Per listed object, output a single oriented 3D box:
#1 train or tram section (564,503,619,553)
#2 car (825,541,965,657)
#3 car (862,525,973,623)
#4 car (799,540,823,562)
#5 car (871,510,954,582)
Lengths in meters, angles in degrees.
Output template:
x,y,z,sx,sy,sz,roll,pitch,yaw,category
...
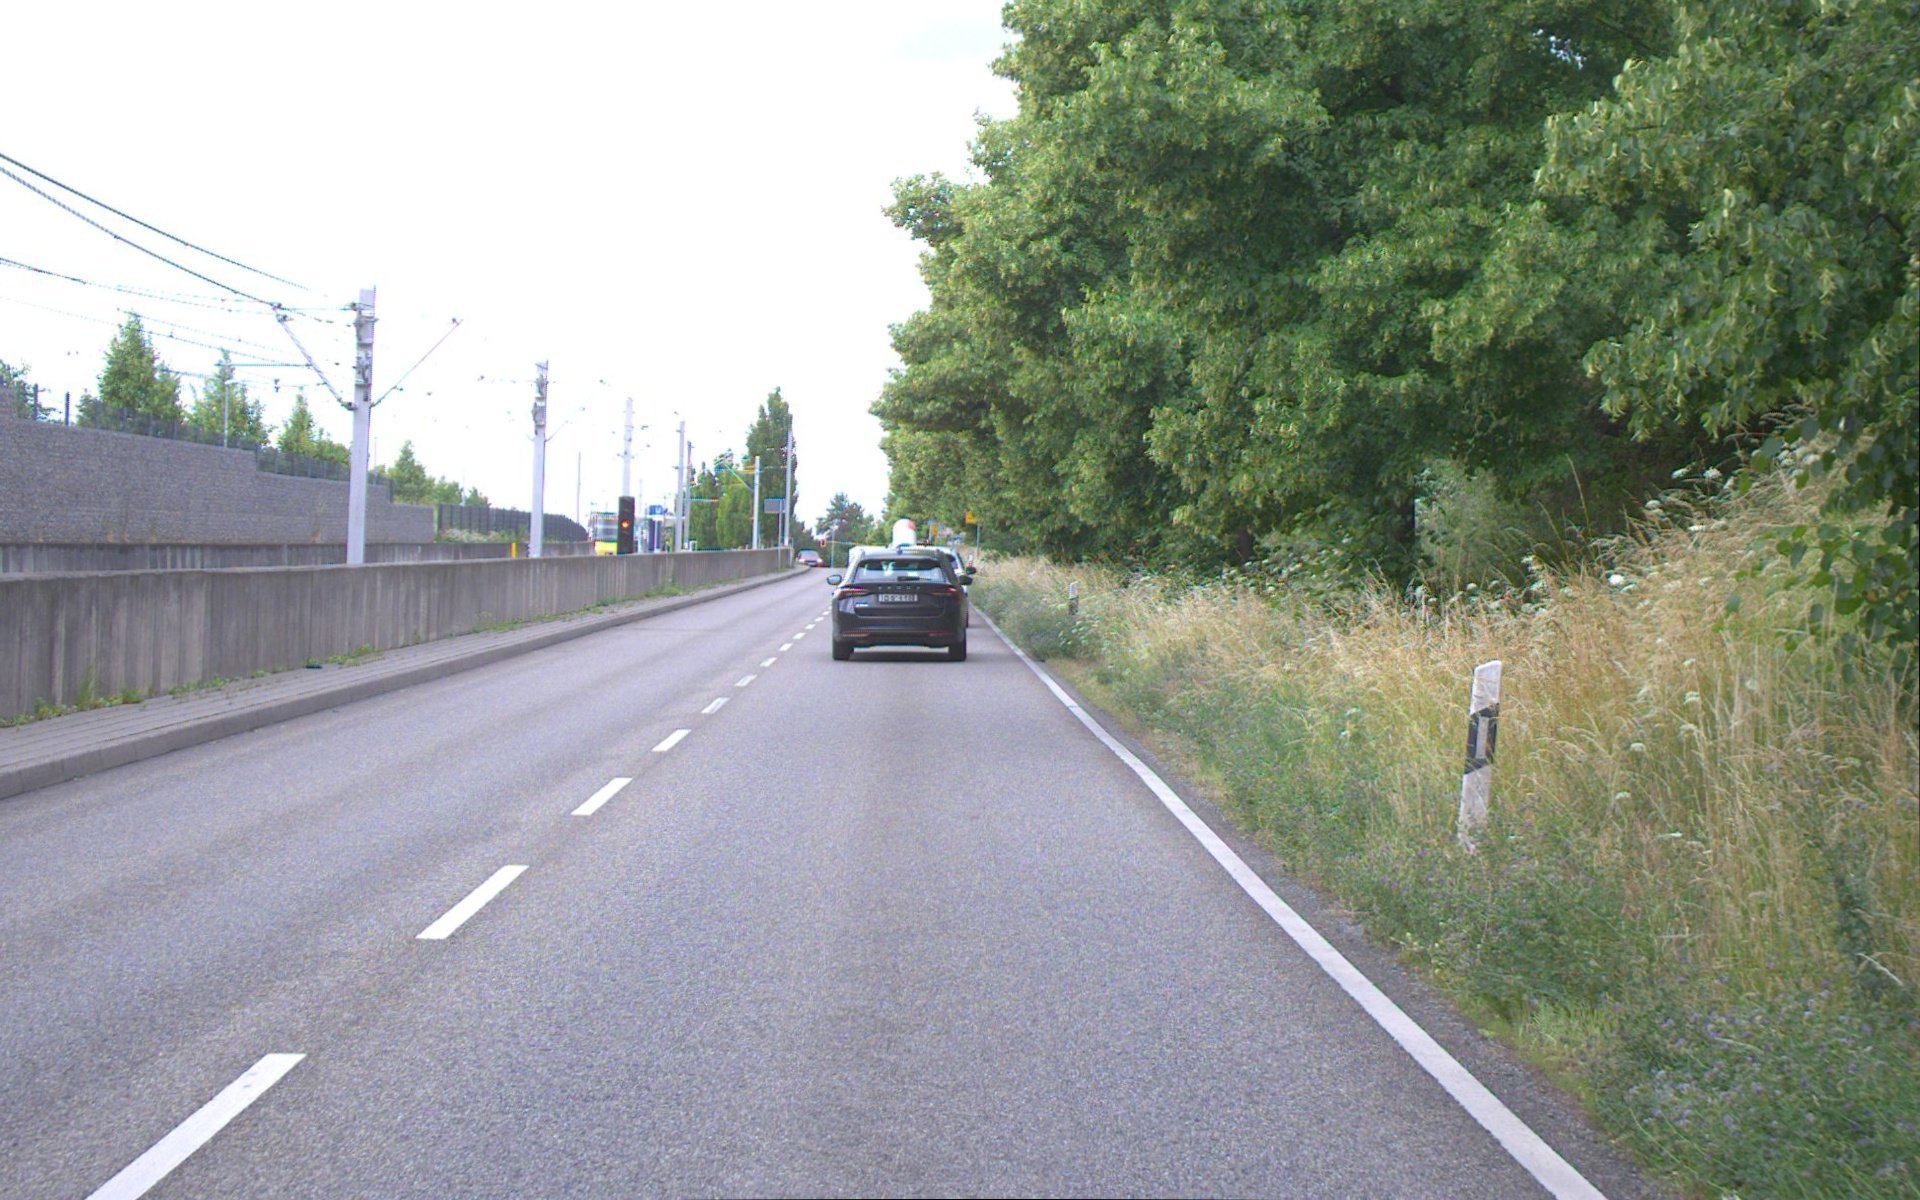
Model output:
x,y,z,sx,sy,sz,roll,pitch,yaw,category
-26.051,-5.002,242.318,2.811,3.106,18.920,0,0,-9,train or tram section
-0.853,-0.042,45.858,1.781,1.463,4.000,0,1,-1,car
-0.792,-0.502,64.031,1.993,1.747,4.000,0,1,-1,car
-10.779,-3.550,248.657,1.662,1.540,3.953,0,1,-1,car
-1.185,-1.325,85.980,1.993,1.734,4.000,0,0,-1,car
